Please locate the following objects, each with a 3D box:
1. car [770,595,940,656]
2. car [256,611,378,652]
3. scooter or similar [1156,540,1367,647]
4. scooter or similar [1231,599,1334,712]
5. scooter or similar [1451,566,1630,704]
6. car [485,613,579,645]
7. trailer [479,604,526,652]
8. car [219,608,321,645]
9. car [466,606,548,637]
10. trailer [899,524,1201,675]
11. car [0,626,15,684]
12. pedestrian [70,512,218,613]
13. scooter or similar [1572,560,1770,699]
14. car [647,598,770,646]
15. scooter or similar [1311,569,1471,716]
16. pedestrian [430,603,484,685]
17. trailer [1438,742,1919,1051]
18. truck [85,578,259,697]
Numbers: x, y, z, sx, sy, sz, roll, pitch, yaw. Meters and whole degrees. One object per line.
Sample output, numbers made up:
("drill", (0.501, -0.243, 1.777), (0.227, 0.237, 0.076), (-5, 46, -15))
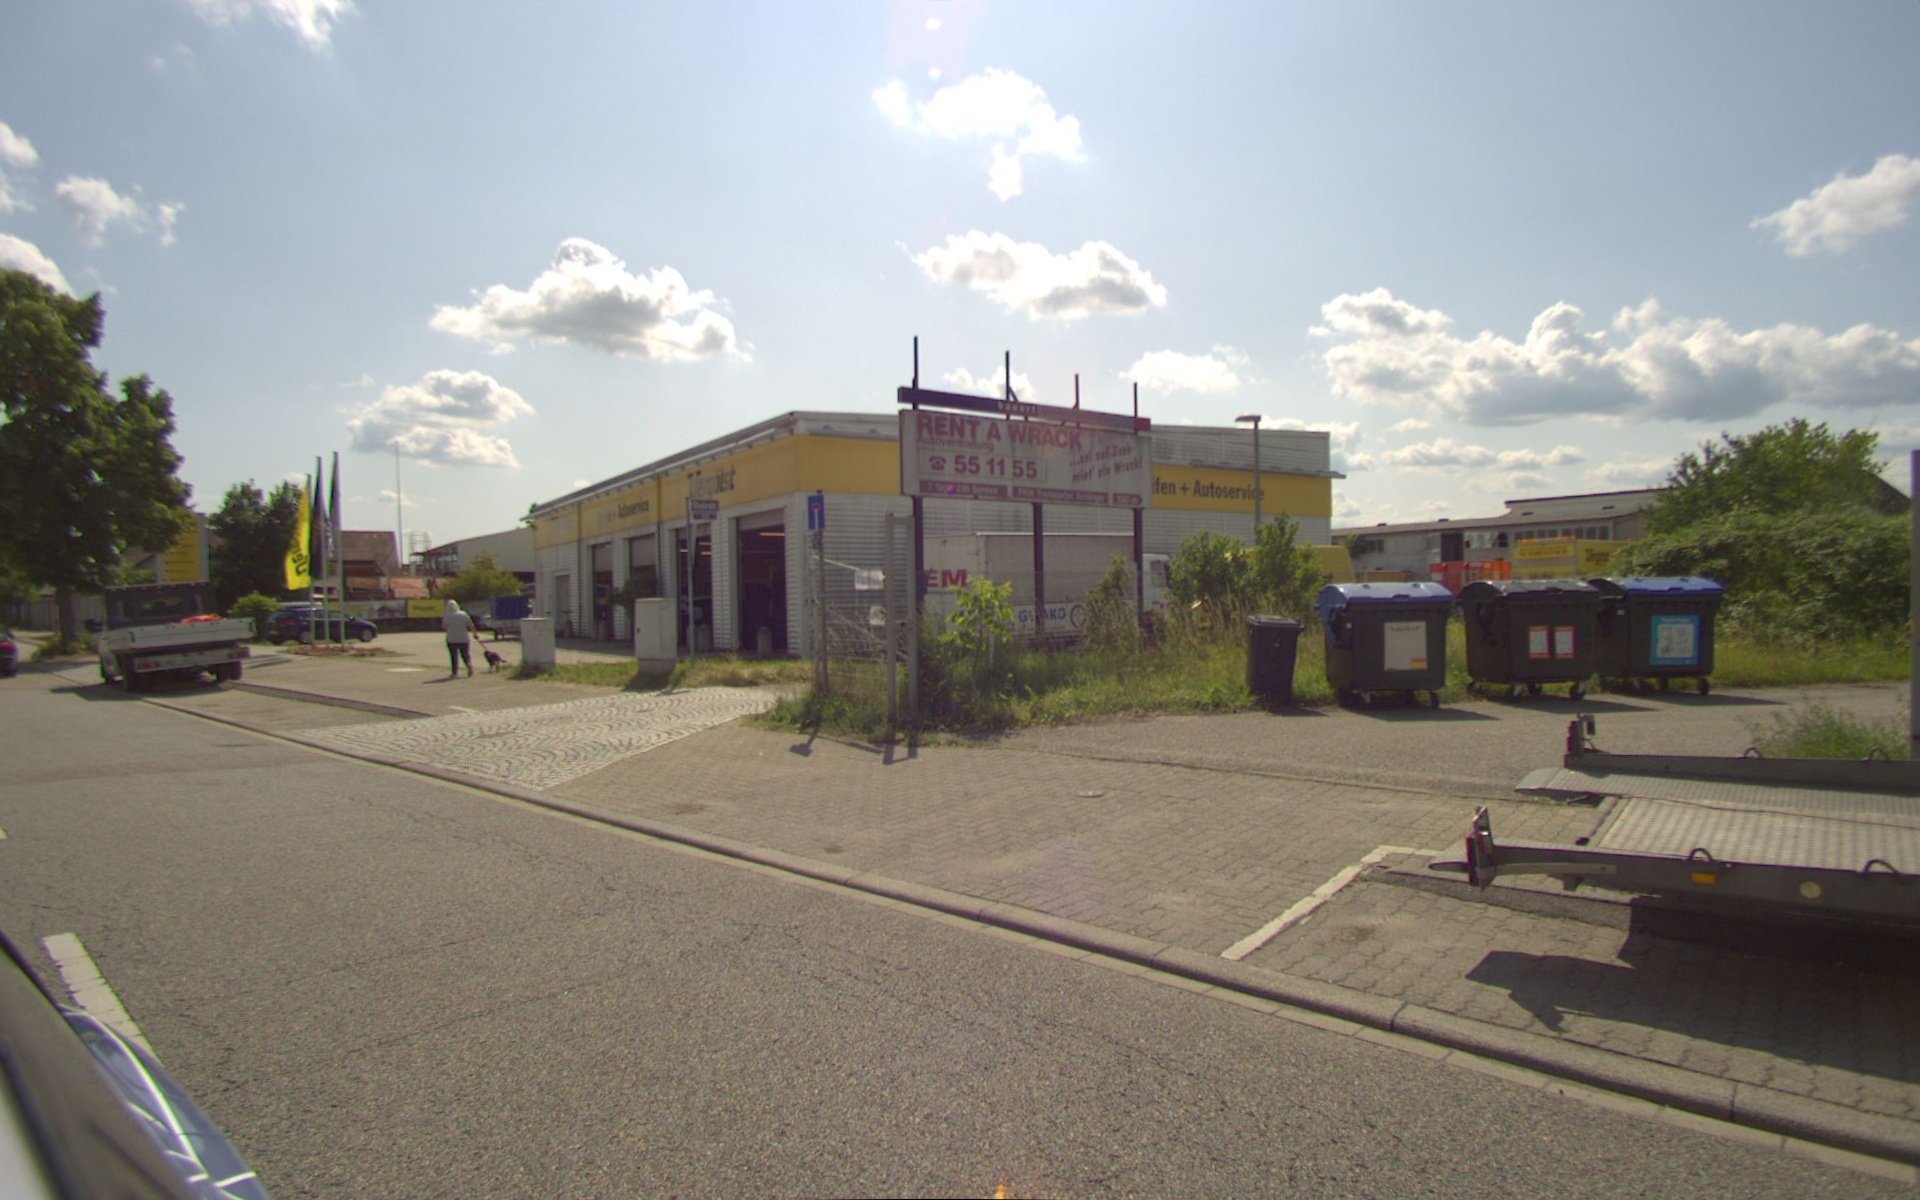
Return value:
("car", (-2.721, 0.634, 26.476), (3.934, 1.411, 1.983), (-1, -1, -36))
("car", (-25.795, 1.241, 40.723), (1.845, 1.424, 3.821), (-1, 1, 19))
("scooter or similar", (7.917, -0.186, 26.437), (5.390, 2.574, 2.006), (-1, -1, -28))
("scooter or similar", (3.824, 0.639, 12.066), (0.884, 1.285, 0.882), (-1, 0, -2))
("scooter or similar", (6.951, 0.406, 12.204), (1.428, 1.549, 1.171), (-1, 0, -2))
("car", (-22.003, 1.463, 52.111), (4.212, 1.494, 1.675), (0, 0, -35))
("trailer", (-17.745, 1.042, 39.169), (1.249, 1.705, 2.978), (-2, 1, -32))
("car", (-34.410, 1.298, 50.513), (4.034, 1.726, 1.682), (-1, 0, -40))
("car", (-25.761, 1.183, 57.582), (3.934, 1.622, 1.854), (-1, 0, -36))
("trailer", (2.109, -0.047, 22.402), (6.432, 2.873, 2.764), (-1, 0, -37))
("car", (-26.372, 1.402, 26.580), (4.307, 1.449, 1.766), (-1, -4, 41))
("pedestrian", (-18.024, -0.761, 22.295), (4.000, 2.029, 1.972), (-1, 1, 43))
("scooter or similar", (8.735, 0.352, 12.511), (1.563, 1.598, 1.171), (-1, 0, -2))
("car", (-8.301, 0.701, 33.487), (3.524, 1.447, 1.794), (-1, 0, -36))
("scooter or similar", (4.991, 0.468, 11.828), (1.300, 1.598, 1.171), (-1, 0, -2))
("pedestrian", (-9.971, 0.858, 20.058), (0.918, 1.557, 0.653), (-2, -1, 43))
("trailer", (4.244, 1.043, 3.307), (4.442, 0.556, 2.212), (-1, 0, 41))
("truck", (-18.218, 0.781, 23.209), (7.352, 2.255, 2.105), (-2, 2, 45))
